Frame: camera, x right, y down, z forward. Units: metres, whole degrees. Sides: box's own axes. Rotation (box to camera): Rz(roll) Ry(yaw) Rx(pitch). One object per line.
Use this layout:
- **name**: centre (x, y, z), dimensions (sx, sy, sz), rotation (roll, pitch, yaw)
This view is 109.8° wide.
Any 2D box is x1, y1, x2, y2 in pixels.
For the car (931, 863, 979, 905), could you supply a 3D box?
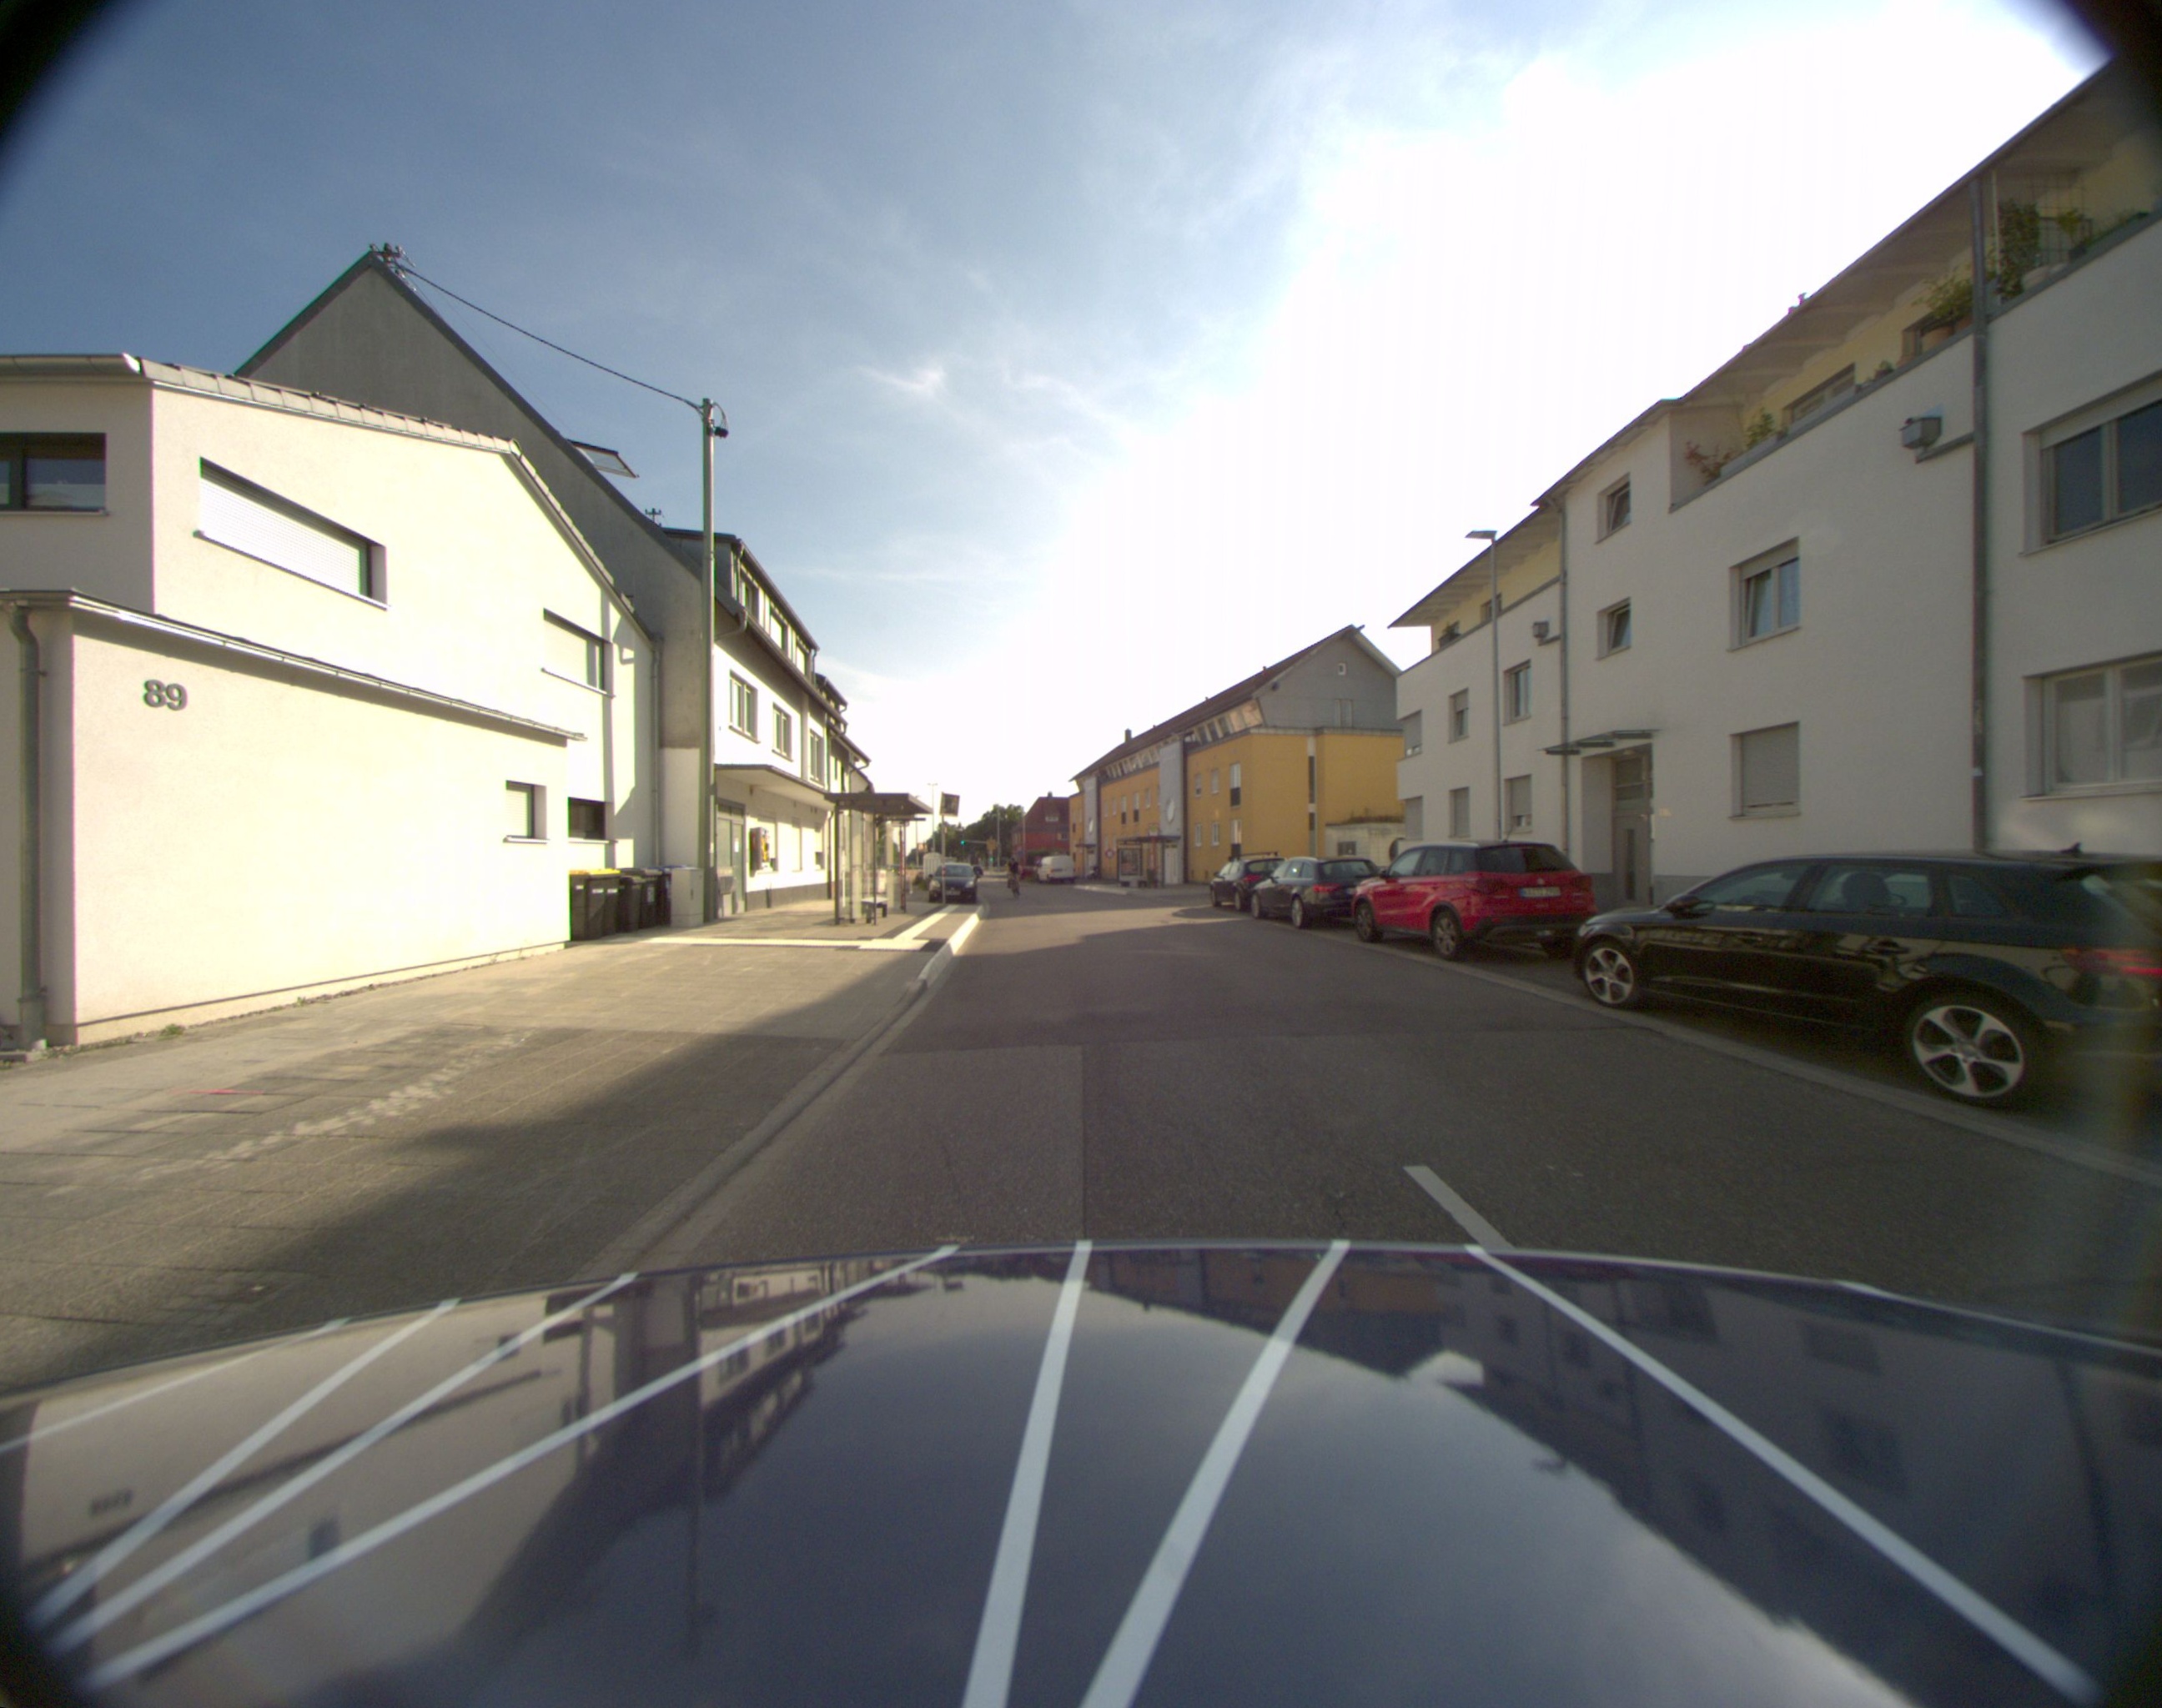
- **car**: centre (-4.620, 1.056, 28.178), dimensions (1.613, 1.412, 3.917), rotation (0, 0, -7)

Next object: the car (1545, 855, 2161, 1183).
- **car**: centre (5.639, 0.759, 5.475), dimensions (1.732, 1.469, 4.261), rotation (-1, 0, -5)

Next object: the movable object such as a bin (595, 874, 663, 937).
- **movable object such as a bin**: centre (-7.775, 0.871, 13.092), dimensions (0.814, 1.053, 0.601), rotation (0, 0, -3)

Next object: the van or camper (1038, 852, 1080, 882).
- **van or camper**: centre (-1.654, 0.937, 55.014), dimensions (2.001, 1.991, 4.915), rotation (-2, 0, -14)

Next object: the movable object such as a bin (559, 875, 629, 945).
- **movable object such as a bin**: centre (-7.707, 0.874, 12.030), dimensions (0.814, 1.087, 0.443), rotation (0, 0, -3)

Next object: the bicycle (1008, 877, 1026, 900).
- **bicycle**: centre (-2.661, 1.392, 31.321), dimensions (0.680, 0.849, 2.025), rotation (-1, 0, -7)

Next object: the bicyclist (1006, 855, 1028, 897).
- **bicyclist**: centre (-2.670, 0.906, 31.410), dimensions (0.846, 1.679, 0.877), rotation (-1, 0, -6)

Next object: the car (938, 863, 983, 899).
- **car**: centre (-5.313, 1.124, 33.225), dimensions (1.721, 1.389, 4.330), rotation (3, -1, -11)

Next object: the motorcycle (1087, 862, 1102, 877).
- **motorcycle**: centre (1.089, 1.282, 61.377), dimensions (0.584, 1.176, 1.875), rotation (-2, 0, -17)

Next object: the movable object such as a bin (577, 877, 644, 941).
- **movable object such as a bin**: centre (-7.732, 0.898, 12.509), dimensions (0.814, 1.030, 0.470), rotation (0, 0, -3)

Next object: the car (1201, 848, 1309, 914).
- **car**: centre (4.876, 0.709, 21.917), dimensions (1.781, 1.612, 4.176), rotation (-3, 0, -5)

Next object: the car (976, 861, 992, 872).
- **car**: centre (-13.927, 1.815, 108.977), dimensions (1.796, 1.433, 3.995), rotation (-1, 0, -13)

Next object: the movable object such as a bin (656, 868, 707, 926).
- **movable object such as a bin**: centre (-7.686, 0.820, 14.630), dimensions (0.698, 1.087, 0.559), rotation (0, 0, -3)

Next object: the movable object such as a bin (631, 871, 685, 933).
- **movable object such as a bin**: centre (-7.711, 0.867, 13.866), dimensions (0.698, 1.087, 0.558), rotation (0, 0, -5)

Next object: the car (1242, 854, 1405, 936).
- **car**: centre (5.033, 0.764, 16.482), dimensions (1.732, 1.469, 4.500), rotation (-2, 0, -5)

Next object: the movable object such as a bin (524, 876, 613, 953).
- **movable object such as a bin**: centre (-7.672, 0.887, 11.409), dimensions (0.814, 1.087, 0.767), rotation (0, 0, -3)

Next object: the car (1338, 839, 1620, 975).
- **car**: centre (5.509, 0.650, 11.258), dimensions (1.732, 1.612, 4.262), rotation (-1, 0, -4)
